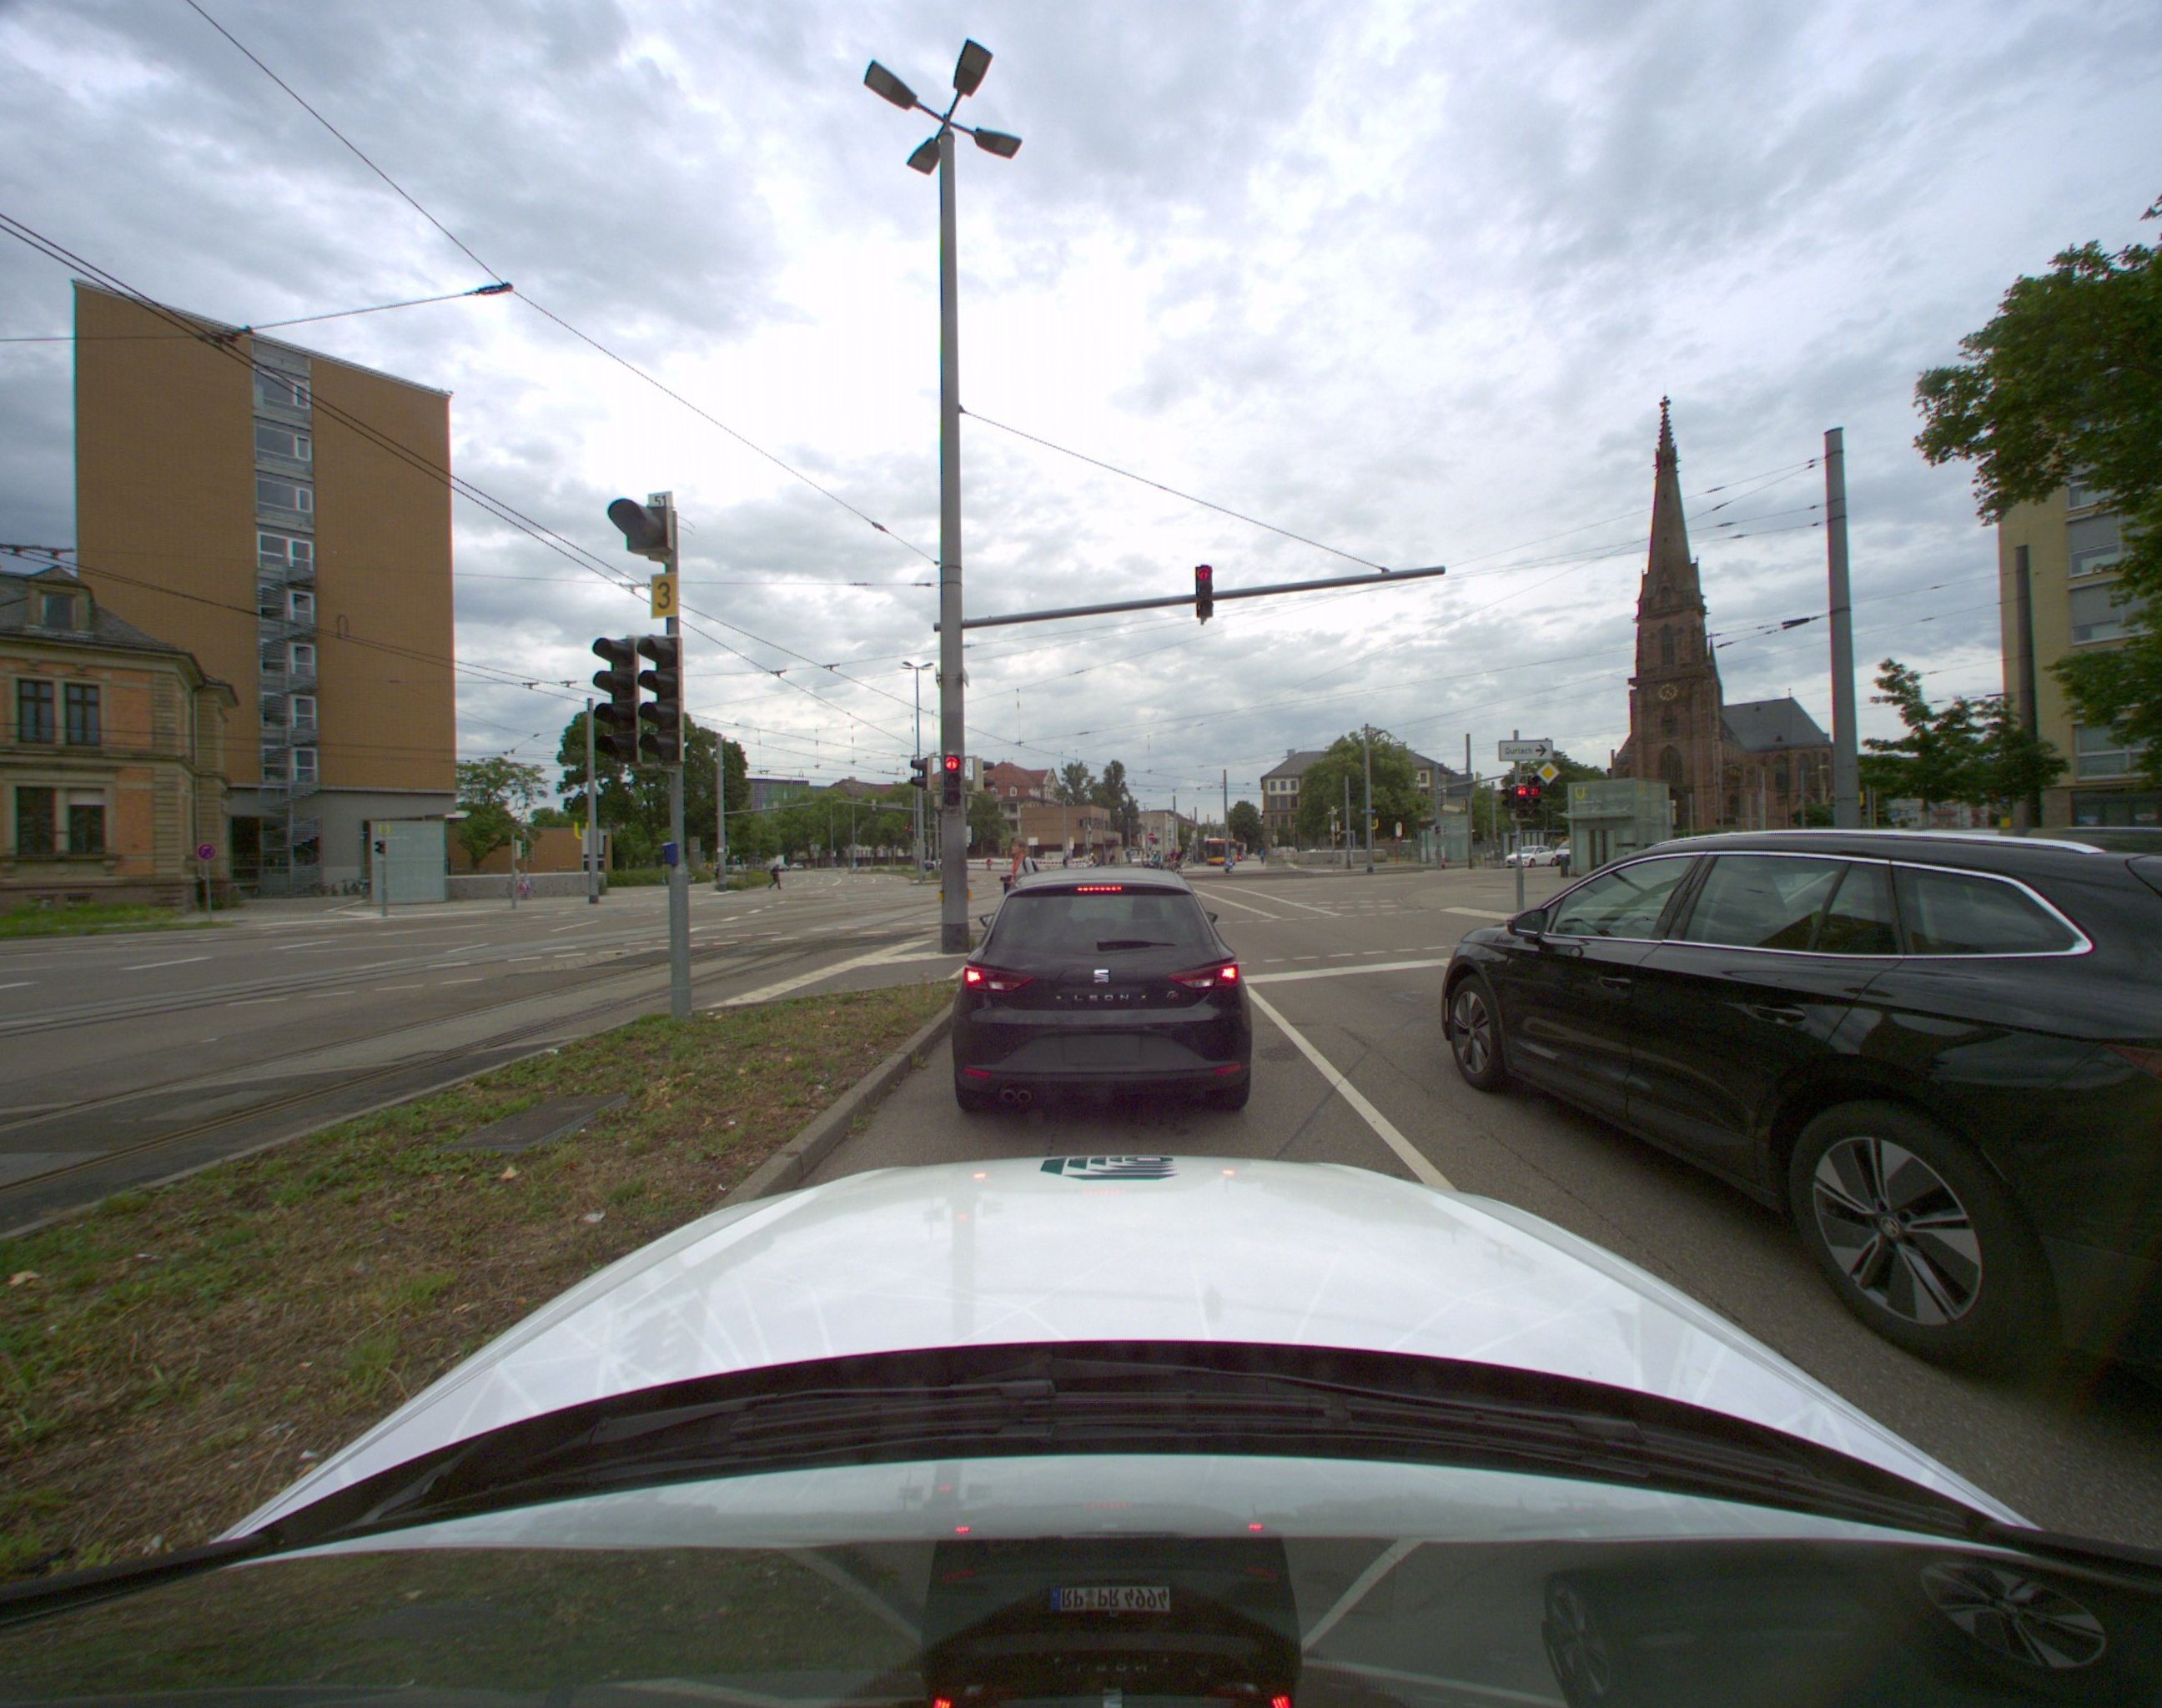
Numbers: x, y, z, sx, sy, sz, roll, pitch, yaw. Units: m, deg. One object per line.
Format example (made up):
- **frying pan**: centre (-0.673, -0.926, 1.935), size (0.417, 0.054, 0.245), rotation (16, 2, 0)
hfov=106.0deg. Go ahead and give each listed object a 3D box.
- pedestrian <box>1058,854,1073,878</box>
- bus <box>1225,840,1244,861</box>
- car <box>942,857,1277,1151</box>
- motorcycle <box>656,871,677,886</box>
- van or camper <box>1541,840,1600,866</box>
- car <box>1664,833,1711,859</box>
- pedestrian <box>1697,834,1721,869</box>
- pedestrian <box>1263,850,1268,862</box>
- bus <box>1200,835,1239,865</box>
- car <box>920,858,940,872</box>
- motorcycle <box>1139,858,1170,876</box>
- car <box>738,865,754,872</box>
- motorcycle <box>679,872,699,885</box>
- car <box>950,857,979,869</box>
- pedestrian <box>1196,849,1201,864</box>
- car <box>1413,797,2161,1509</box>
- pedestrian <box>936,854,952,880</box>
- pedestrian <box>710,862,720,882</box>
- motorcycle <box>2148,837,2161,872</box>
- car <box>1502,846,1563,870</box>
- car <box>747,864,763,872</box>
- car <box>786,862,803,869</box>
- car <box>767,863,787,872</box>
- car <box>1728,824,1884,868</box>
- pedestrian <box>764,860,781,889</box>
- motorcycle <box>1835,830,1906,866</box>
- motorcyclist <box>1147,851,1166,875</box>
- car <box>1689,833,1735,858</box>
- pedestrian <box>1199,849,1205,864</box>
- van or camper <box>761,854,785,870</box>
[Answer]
- **pedestrian**: centre (-1.281, 0.994, 67.643), size (0.692, 1.934, 1.037), rotation (-2, 0, 40)
- **bus**: centre (25.748, -0.595, 136.270), size (2.635, 3.283, 11.034), rotation (-2, 0, 13)
- **car**: centre (0.090, 0.773, 6.096), size (1.700, 1.449, 3.809), rotation (-1, 0, -2)
- **motorcycle**: centre (-35.438, 2.079, 69.594), size (1.481, 1.268, 0.505), rotation (-1, 0, -44)
- **van or camper**: centre (35.280, -0.089, 58.664), size (4.321, 1.742, 1.979), rotation (-1, -2, -34)
- **car**: centre (49.714, -0.634, 66.736), size (4.017, 2.013, 1.978), rotation (-1, 0, -36)
- **pedestrian**: centre (30.435, -0.117, 39.490), size (0.875, 1.638, 0.631), rotation (-1, 0, -32)
- **pedestrian**: centre (31.397, 0.296, 138.614), size (0.659, 2.013, 0.692), rotation (-2, 0, 2)
- **bus**: centre (15.976, -0.432, 93.260), size (2.938, 3.123, 11.589), rotation (-2, 0, 16)
- **car**: centre (-19.557, 1.377, 105.414), size (2.000, 1.684, 3.973), rotation (-1, -1, -20)
- **motorcycle**: centre (5.166, 0.903, 57.149), size (2.149, 1.139, 0.737), rotation (-1, 0, -31)
- **car**: centre (-73.797, 3.086, 179.400), size (3.949, 1.464, 1.792), rotation (-1, 0, 43)
- **motorcycle**: centre (-34.410, 2.164, 71.498), size (0.506, 1.111, 1.751), rotation (-2, 0, 15)
- **car**: centre (-17.603, 1.322, 123.652), size (3.970, 1.684, 2.001), rotation (-2, -1, 3)
- **pedestrian**: centre (15.158, 0.370, 105.276), size (0.618, 1.918, 0.711), rotation (-2, 0, 5)
- **car**: centre (3.323, 0.653, 3.759), size (1.771, 1.597, 4.510), rotation (-1, 0, 1)
- **pedestrian**: centre (-10.468, 1.008, 62.034), size (1.032, 1.934, 0.695), rotation (-2, 0, -24)
- **pedestrian**: centre (-35.900, 1.768, 79.849), size (0.799, 1.981, 0.872), rotation (-1, -2, -33)
- **motorcycle**: centre (31.909, 0.004, 23.729), size (1.021, 0.997, 0.863), rotation (-1, 0, -44)
- **car**: centre (30.379, 0.269, 54.794), size (4.011, 1.464, 1.758), rotation (-1, -2, -30)
- **car**: centre (-68.732, 2.934, 171.591), size (1.792, 1.464, 3.951), rotation (-1, 0, -44)
- **car**: centre (-58.102, 2.321, 165.080), size (1.791, 1.464, 3.952), rotation (-1, 0, -42)
- **car**: centre (-53.986, 2.397, 144.745), size (1.792, 1.464, 3.950), rotation (-1, 0, -45)
- **car**: centre (37.663, -0.393, 42.501), size (5.672, 2.014, 2.038), rotation (-2, -2, 19)
- **pedestrian**: centre (-22.131, 1.448, 58.448), size (1.023, 2.013, 0.841), rotation (-1, 0, -18)
- **motorcycle**: centre (26.954, -0.211, 27.797), size (2.386, 1.168, 0.762), rotation (-1, 0, -19)
- **motorcyclist**: centre (5.302, 0.625, 57.253), size (0.984, 1.649, 0.742), rotation (-1, -1, -31)
- **car**: centre (53.577, -0.727, 69.173), size (4.017, 2.013, 1.978), rotation (-1, 0, -36)
- **pedestrian**: centre (15.524, 0.337, 104.286), size (0.617, 1.918, 0.701), rotation (-2, 0, 11)
- **van or camper**: centre (-62.806, 1.724, 165.990), size (5.434, 3.124, 2.410), rotation (-2, 0, 43)
